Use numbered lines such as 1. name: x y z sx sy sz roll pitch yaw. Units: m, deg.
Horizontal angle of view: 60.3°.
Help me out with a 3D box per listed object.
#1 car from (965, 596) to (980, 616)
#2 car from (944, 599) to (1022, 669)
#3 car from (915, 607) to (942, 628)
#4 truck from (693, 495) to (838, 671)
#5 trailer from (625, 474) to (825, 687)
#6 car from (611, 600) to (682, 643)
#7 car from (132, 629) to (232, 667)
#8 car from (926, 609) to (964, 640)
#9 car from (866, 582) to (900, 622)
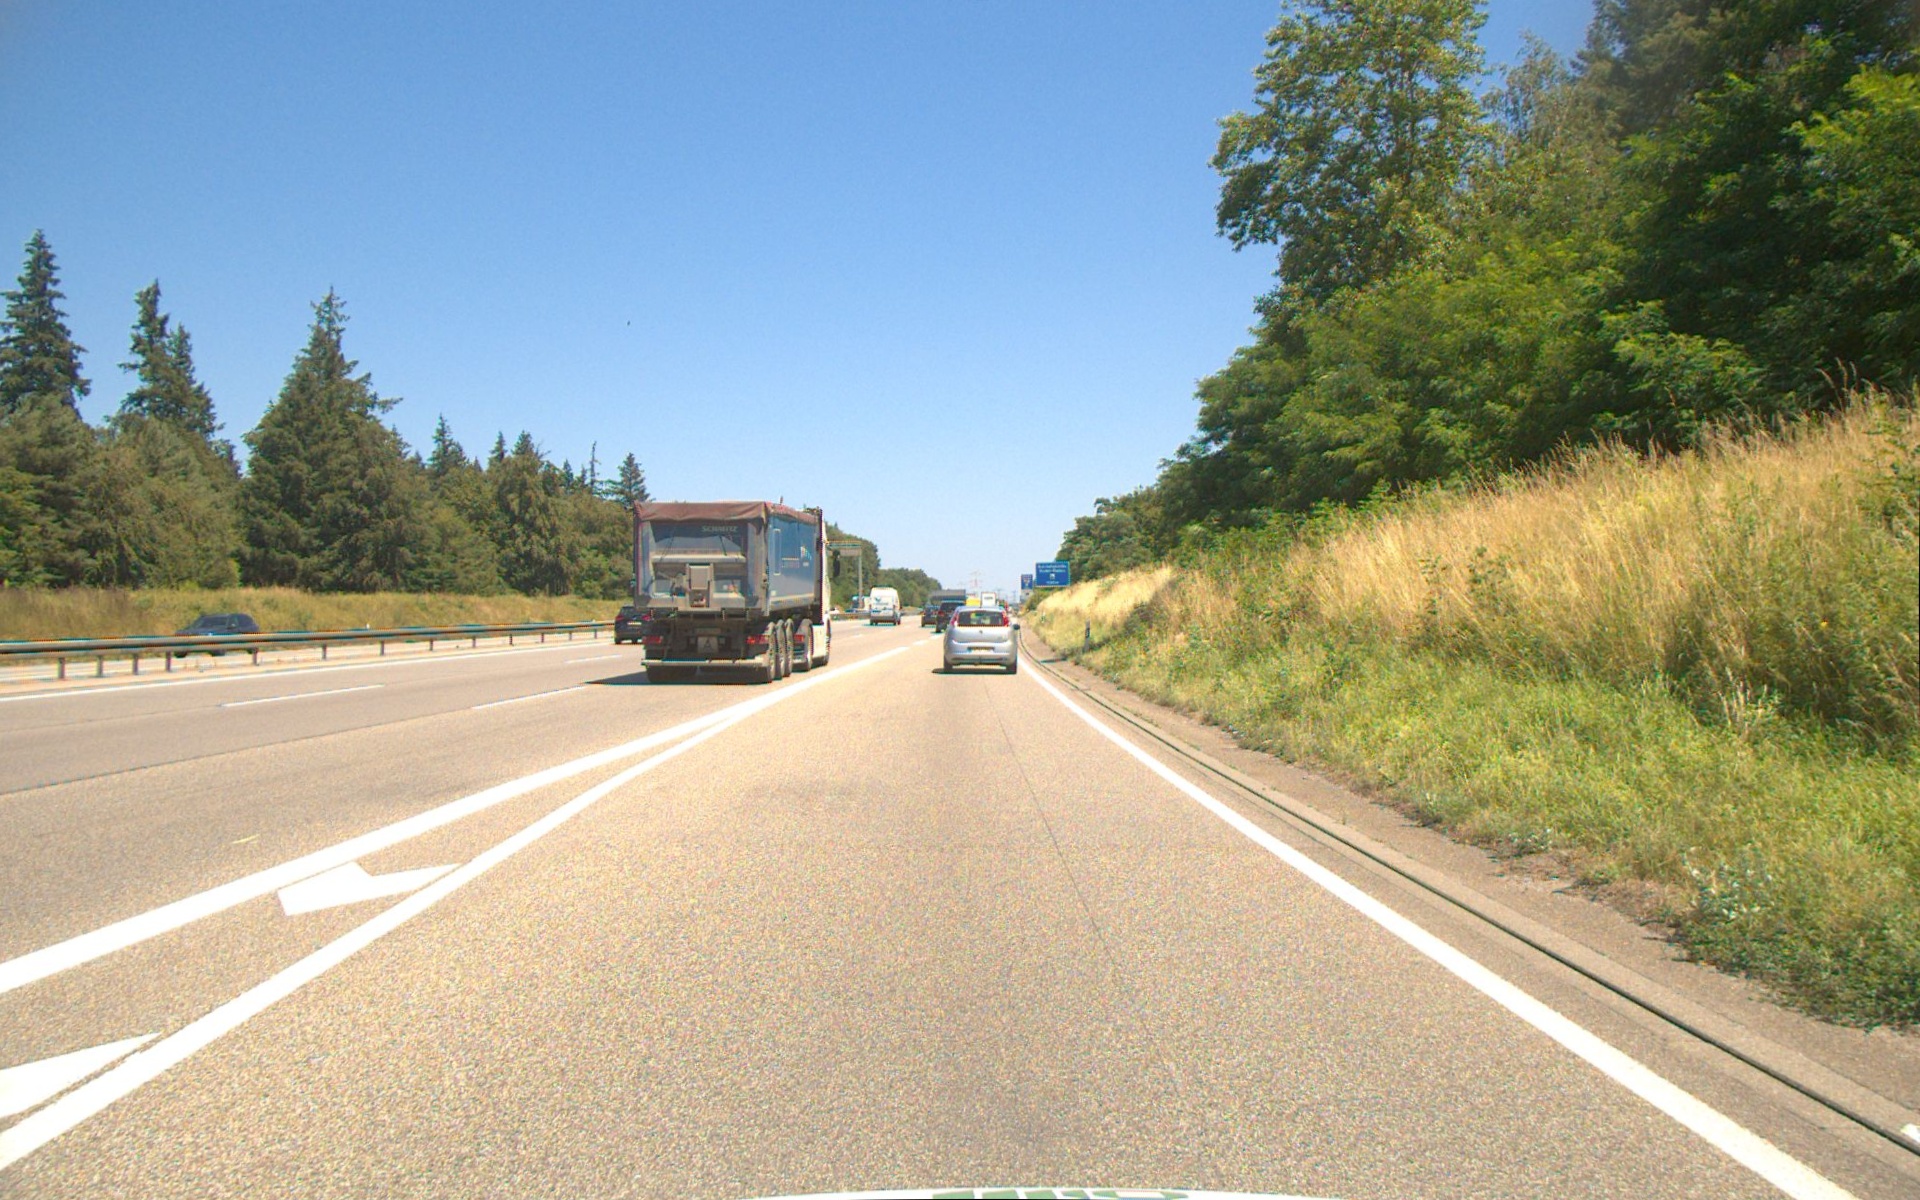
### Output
1. car: 1.364 0.653 179.071 1.578 2.049 4.000 0 0 1
2. car: 0.502 0.733 37.544 1.684 1.518 3.737 0 0 0
3. car: -2.190 1.223 117.398 1.855 1.495 4.261 1 0 0
4. truck: -4.485 -0.366 39.242 2.629 3.824 5.944 0 0 1
5. trailer: -4.607 -0.351 34.379 2.680 3.824 9.110 0 0 1
6. car: -11.760 0.784 62.335 1.668 1.500 4.598 -1 0 2
7. car: -31.251 1.909 66.563 1.752 1.445 4.437 0 0 3
8. car: -0.793 1.364 92.172 1.793 1.701 4.002 1 -1 4
9. car: -5.866 0.152 126.448 2.213 3.002 6.114 0 0 1
